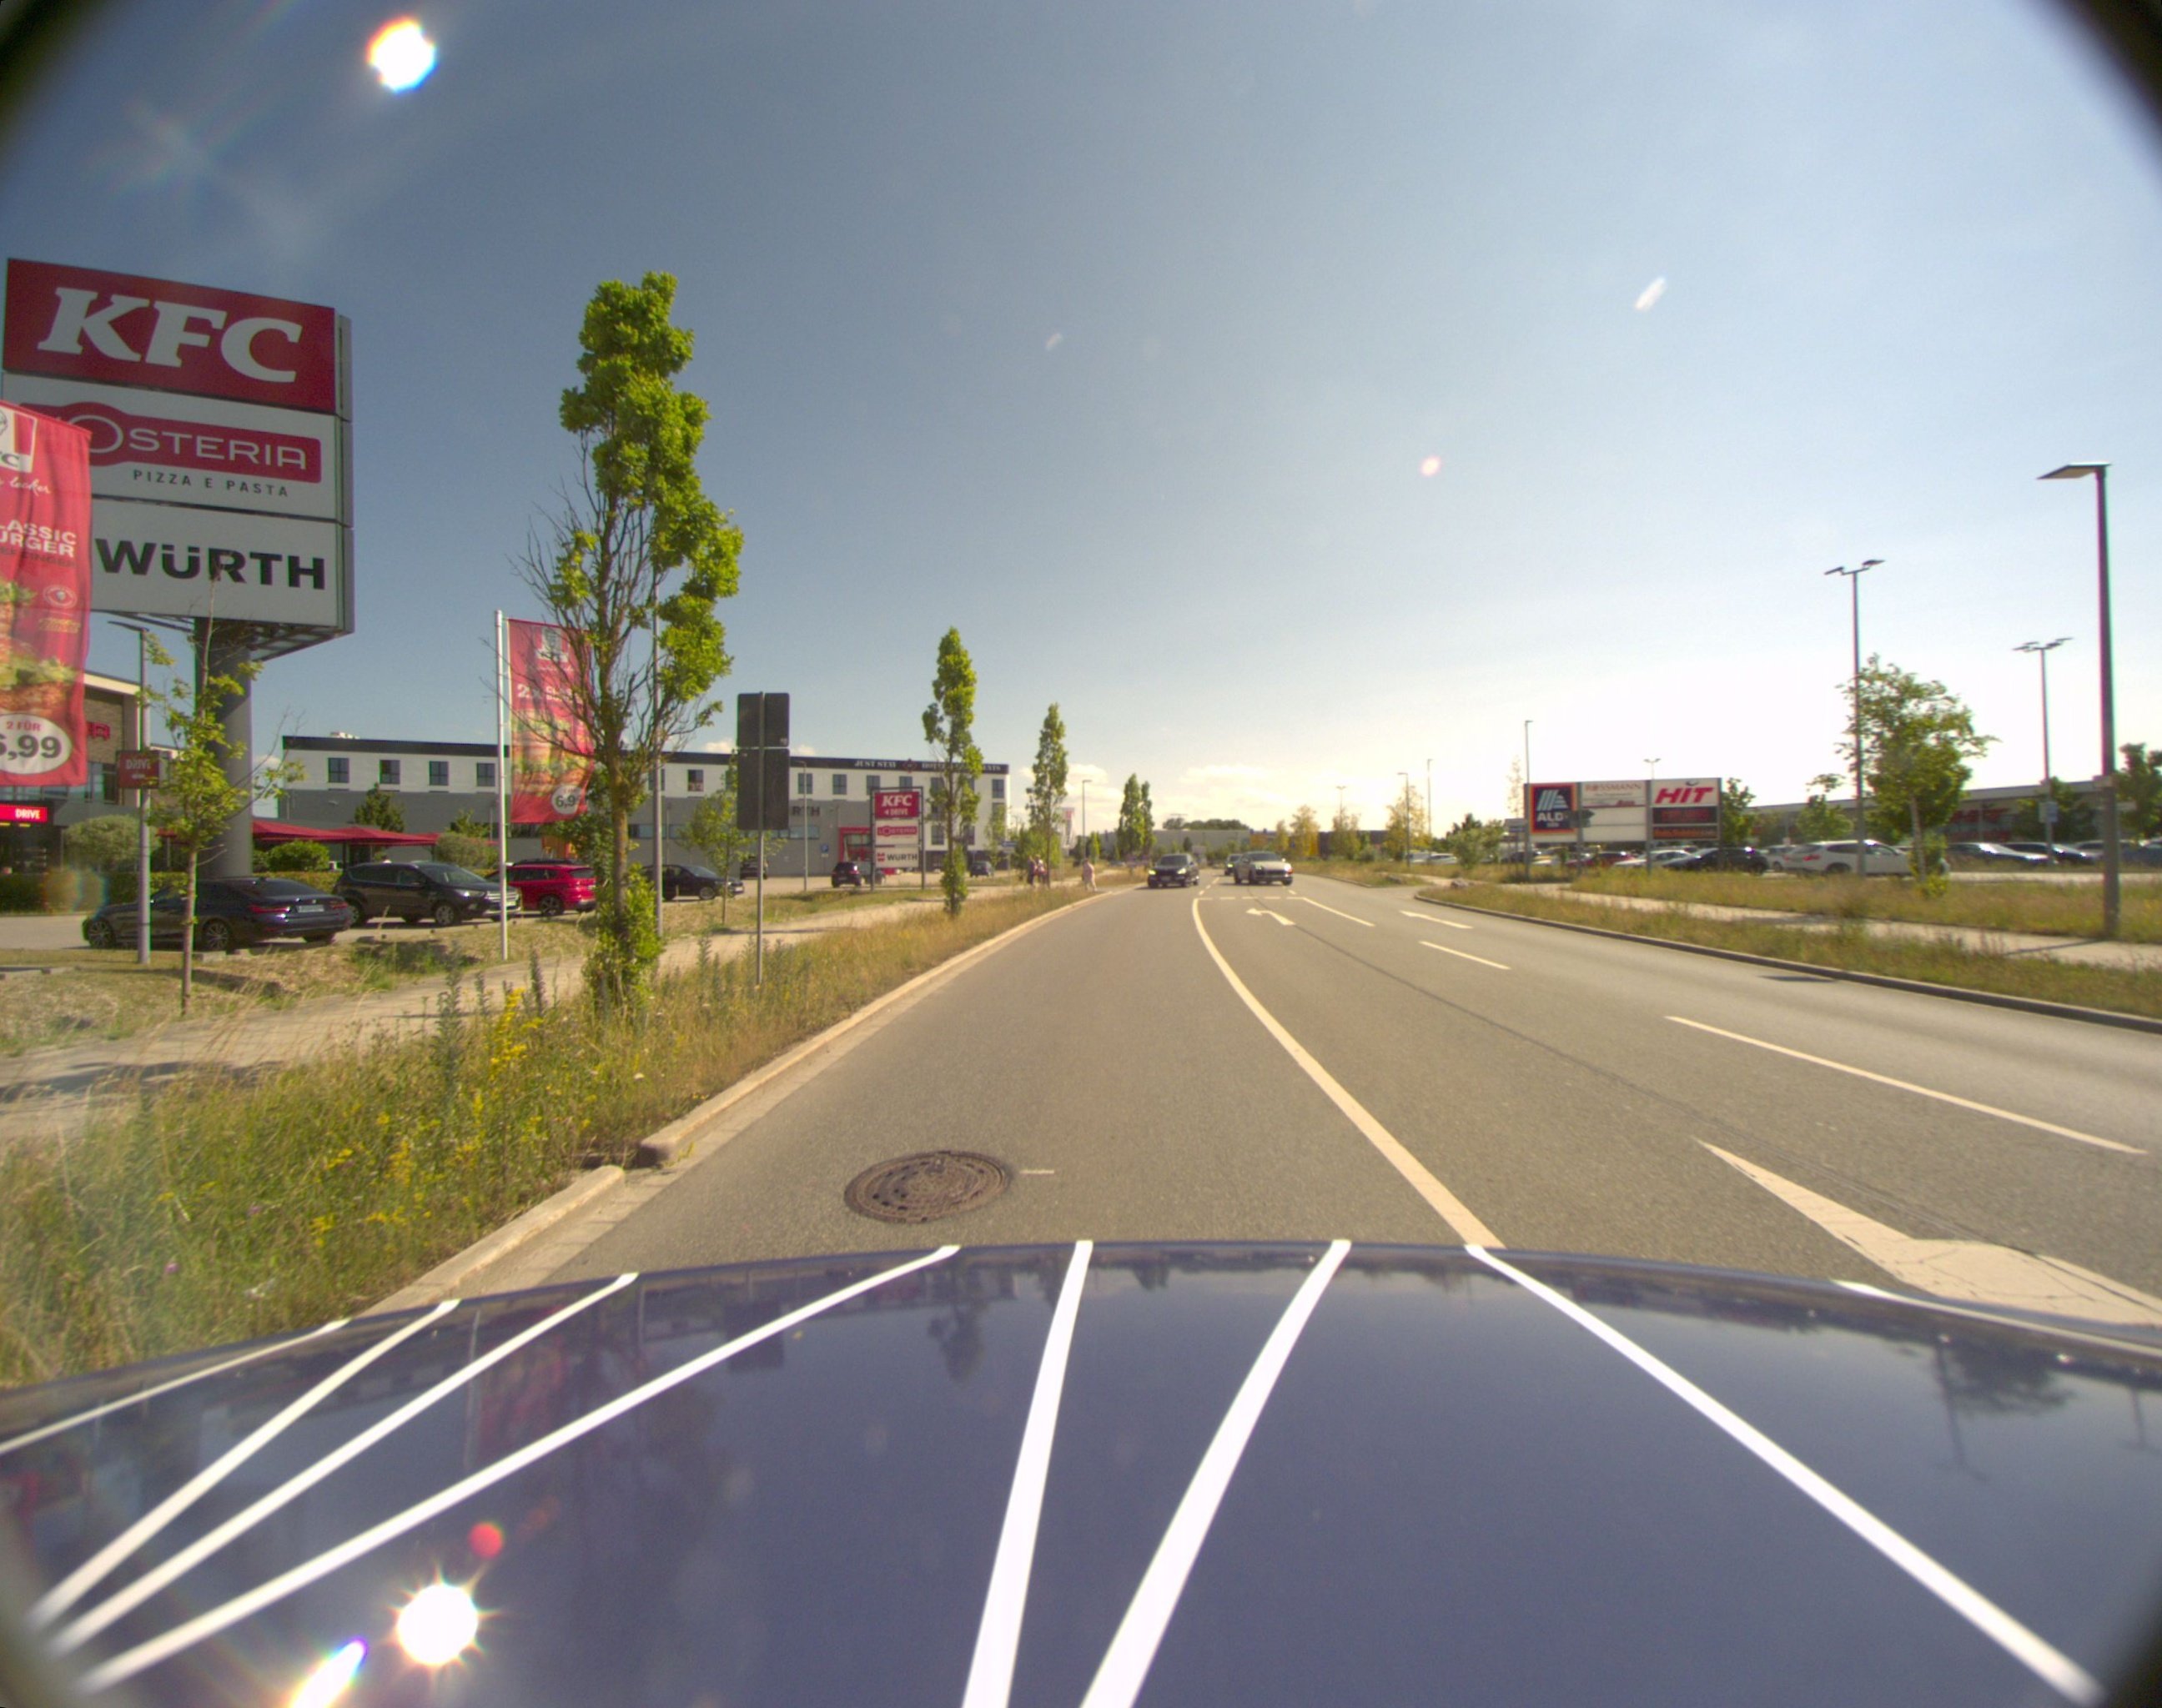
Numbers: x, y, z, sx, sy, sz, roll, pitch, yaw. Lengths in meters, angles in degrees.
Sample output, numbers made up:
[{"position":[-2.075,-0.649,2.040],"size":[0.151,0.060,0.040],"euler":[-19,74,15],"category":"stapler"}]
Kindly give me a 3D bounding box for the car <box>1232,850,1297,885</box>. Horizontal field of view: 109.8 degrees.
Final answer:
[{"position":[9.282,0.747,38.903],"size":[2.114,1.633,4.778],"euler":[-1,-2,-1],"category":"car"}]

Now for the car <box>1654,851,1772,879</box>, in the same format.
[{"position":[31.906,0.556,38.472],"size":[4.151,1.340,1.938],"euler":[-1,0,9],"category":"car"}]

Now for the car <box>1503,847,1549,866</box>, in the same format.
[{"position":[61.509,0.322,104.955],"size":[5.721,2.572,1.938],"euler":[-1,0,-13],"category":"car"}]

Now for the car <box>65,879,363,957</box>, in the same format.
[{"position":[-17.708,1.267,15.635],"size":[4.415,1.440,1.792],"euler":[0,0,6],"category":"car"}]

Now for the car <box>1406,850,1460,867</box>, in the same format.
[{"position":[36.360,0.448,78.535],"size":[4.600,1.662,2.000],"euler":[-1,0,1],"category":"car"}]

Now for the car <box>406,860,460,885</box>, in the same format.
[{"position":[-46.641,1.292,54.788],"size":[1.703,1.747,4.101],"euler":[-1,0,-21],"category":"car"}]

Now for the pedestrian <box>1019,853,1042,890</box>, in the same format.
[{"position":[-2.239,0.782,33.899],"size":[0.810,1.619,0.867],"euler":[-2,0,10],"category":"pedestrian"}]

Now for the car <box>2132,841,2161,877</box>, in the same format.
[{"position":[47.894,0.195,31.738],"size":[1.718,1.572,4.350],"euler":[-1,0,-11],"category":"car"}]

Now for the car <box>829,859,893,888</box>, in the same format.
[{"position":[-12.539,1.070,43.597],"size":[1.783,1.531,4.172],"euler":[-1,0,11],"category":"car"}]

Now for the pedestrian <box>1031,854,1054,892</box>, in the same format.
[{"position":[-1.674,0.815,33.147],"size":[0.802,1.620,0.805],"euler":[-2,0,10],"category":"pedestrian"}]

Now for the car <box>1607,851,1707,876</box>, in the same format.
[{"position":[32.852,0.549,43.462],"size":[4.151,1.340,1.938],"euler":[-1,0,9],"category":"car"}]

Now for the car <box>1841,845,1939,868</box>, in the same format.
[{"position":[55.272,0.181,52.010],"size":[1.718,1.523,4.350],"euler":[-1,0,-11],"category":"car"}]

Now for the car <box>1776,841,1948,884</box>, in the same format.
[{"position":[29.572,0.319,28.919],"size":[4.219,1.538,1.919],"euler":[-1,0,10],"category":"car"}]

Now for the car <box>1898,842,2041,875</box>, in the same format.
[{"position":[43.967,0.241,37.747],"size":[1.718,1.507,4.350],"euler":[-1,0,-11],"category":"car"}]

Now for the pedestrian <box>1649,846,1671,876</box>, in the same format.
[{"position":[32.497,0.406,42.645],"size":[0.766,1.685,0.579],"euler":[-1,0,10],"category":"pedestrian"}]

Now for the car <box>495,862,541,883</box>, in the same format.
[{"position":[-41.357,1.360,55.925],"size":[1.703,1.454,4.101],"euler":[-1,0,-21],"category":"car"}]

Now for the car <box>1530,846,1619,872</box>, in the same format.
[{"position":[39.097,0.373,60.279],"size":[5.694,1.953,2.000],"euler":[-1,0,2],"category":"car"}]

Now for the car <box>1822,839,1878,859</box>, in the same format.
[{"position":[69.762,-0.442,68.940],"size":[4.357,1.797,1.715],"euler":[-1,0,-16],"category":"car"}]

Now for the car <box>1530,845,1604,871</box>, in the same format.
[{"position":[35.538,0.321,55.686],"size":[4.152,1.850,1.934],"euler":[-1,0,8],"category":"car"}]

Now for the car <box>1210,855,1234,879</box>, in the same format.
[{"position":[10.627,0.954,57.289],"size":[1.755,1.677,4.385],"euler":[-1,0,10],"category":"car"}]

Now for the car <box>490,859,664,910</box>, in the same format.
[{"position":[-17.709,1.030,26.833],"size":[4.992,1.724,1.940],"euler":[0,0,5],"category":"car"}]

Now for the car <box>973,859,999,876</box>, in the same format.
[{"position":[-8.420,1.195,67.797],"size":[1.516,1.399,4.001],"euler":[-1,0,4],"category":"car"}]

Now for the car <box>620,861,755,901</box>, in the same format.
[{"position":[-15.711,1.056,30.451],"size":[4.415,1.557,1.996],"euler":[0,0,5],"category":"car"}]

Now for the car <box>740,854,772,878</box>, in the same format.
[{"position":[-25.974,0.969,60.938],"size":[2.051,1.805,4.916],"euler":[-1,0,-20],"category":"car"}]

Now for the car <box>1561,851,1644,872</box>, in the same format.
[{"position":[34.820,0.526,50.859],"size":[4.151,1.340,1.938],"euler":[-1,0,9],"category":"car"}]

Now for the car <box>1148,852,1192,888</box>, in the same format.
[{"position":[4.532,0.808,38.115],"size":[1.899,1.669,4.471],"euler":[-2,-2,10],"category":"car"}]

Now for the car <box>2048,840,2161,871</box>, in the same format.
[{"position":[54.586,0.091,39.943],"size":[1.718,1.535,4.350],"euler":[-1,0,-11],"category":"car"}]

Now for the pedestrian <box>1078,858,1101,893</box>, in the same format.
[{"position":[0.372,0.930,33.238],"size":[0.794,1.461,0.950],"euler":[-2,0,10],"category":"pedestrian"}]

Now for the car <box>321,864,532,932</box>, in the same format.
[{"position":[-17.536,1.132,20.457],"size":[4.414,1.724,1.792],"euler":[0,0,7],"category":"car"}]

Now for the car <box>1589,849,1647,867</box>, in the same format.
[{"position":[48.940,0.365,69.350],"size":[1.718,1.517,4.350],"euler":[-1,0,-12],"category":"car"}]

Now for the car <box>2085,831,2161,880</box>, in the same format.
[{"position":[45.186,0.050,31.006],"size":[1.718,1.974,4.830],"euler":[-1,0,-11],"category":"car"}]

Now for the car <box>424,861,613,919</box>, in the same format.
[{"position":[-17.168,1.067,23.360],"size":[4.418,1.724,1.791],"euler":[0,0,-2],"category":"car"}]

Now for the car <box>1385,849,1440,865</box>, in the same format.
[{"position":[36.463,0.328,83.608],"size":[5.195,1.662,1.999],"euler":[-1,0,-4],"category":"car"}]

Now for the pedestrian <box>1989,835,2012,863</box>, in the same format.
[{"position":[59.469,-0.335,49.159],"size":[0.570,1.813,0.780],"euler":[-1,0,-10],"category":"pedestrian"}]

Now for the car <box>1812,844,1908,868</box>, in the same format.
[{"position":[52.824,0.151,51.637],"size":[1.718,1.562,4.350],"euler":[-1,0,-11],"category":"car"}]

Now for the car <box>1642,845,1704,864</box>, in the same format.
[{"position":[54.457,0.080,70.049],"size":[1.717,1.730,4.580],"euler":[-1,0,-8],"category":"car"}]
